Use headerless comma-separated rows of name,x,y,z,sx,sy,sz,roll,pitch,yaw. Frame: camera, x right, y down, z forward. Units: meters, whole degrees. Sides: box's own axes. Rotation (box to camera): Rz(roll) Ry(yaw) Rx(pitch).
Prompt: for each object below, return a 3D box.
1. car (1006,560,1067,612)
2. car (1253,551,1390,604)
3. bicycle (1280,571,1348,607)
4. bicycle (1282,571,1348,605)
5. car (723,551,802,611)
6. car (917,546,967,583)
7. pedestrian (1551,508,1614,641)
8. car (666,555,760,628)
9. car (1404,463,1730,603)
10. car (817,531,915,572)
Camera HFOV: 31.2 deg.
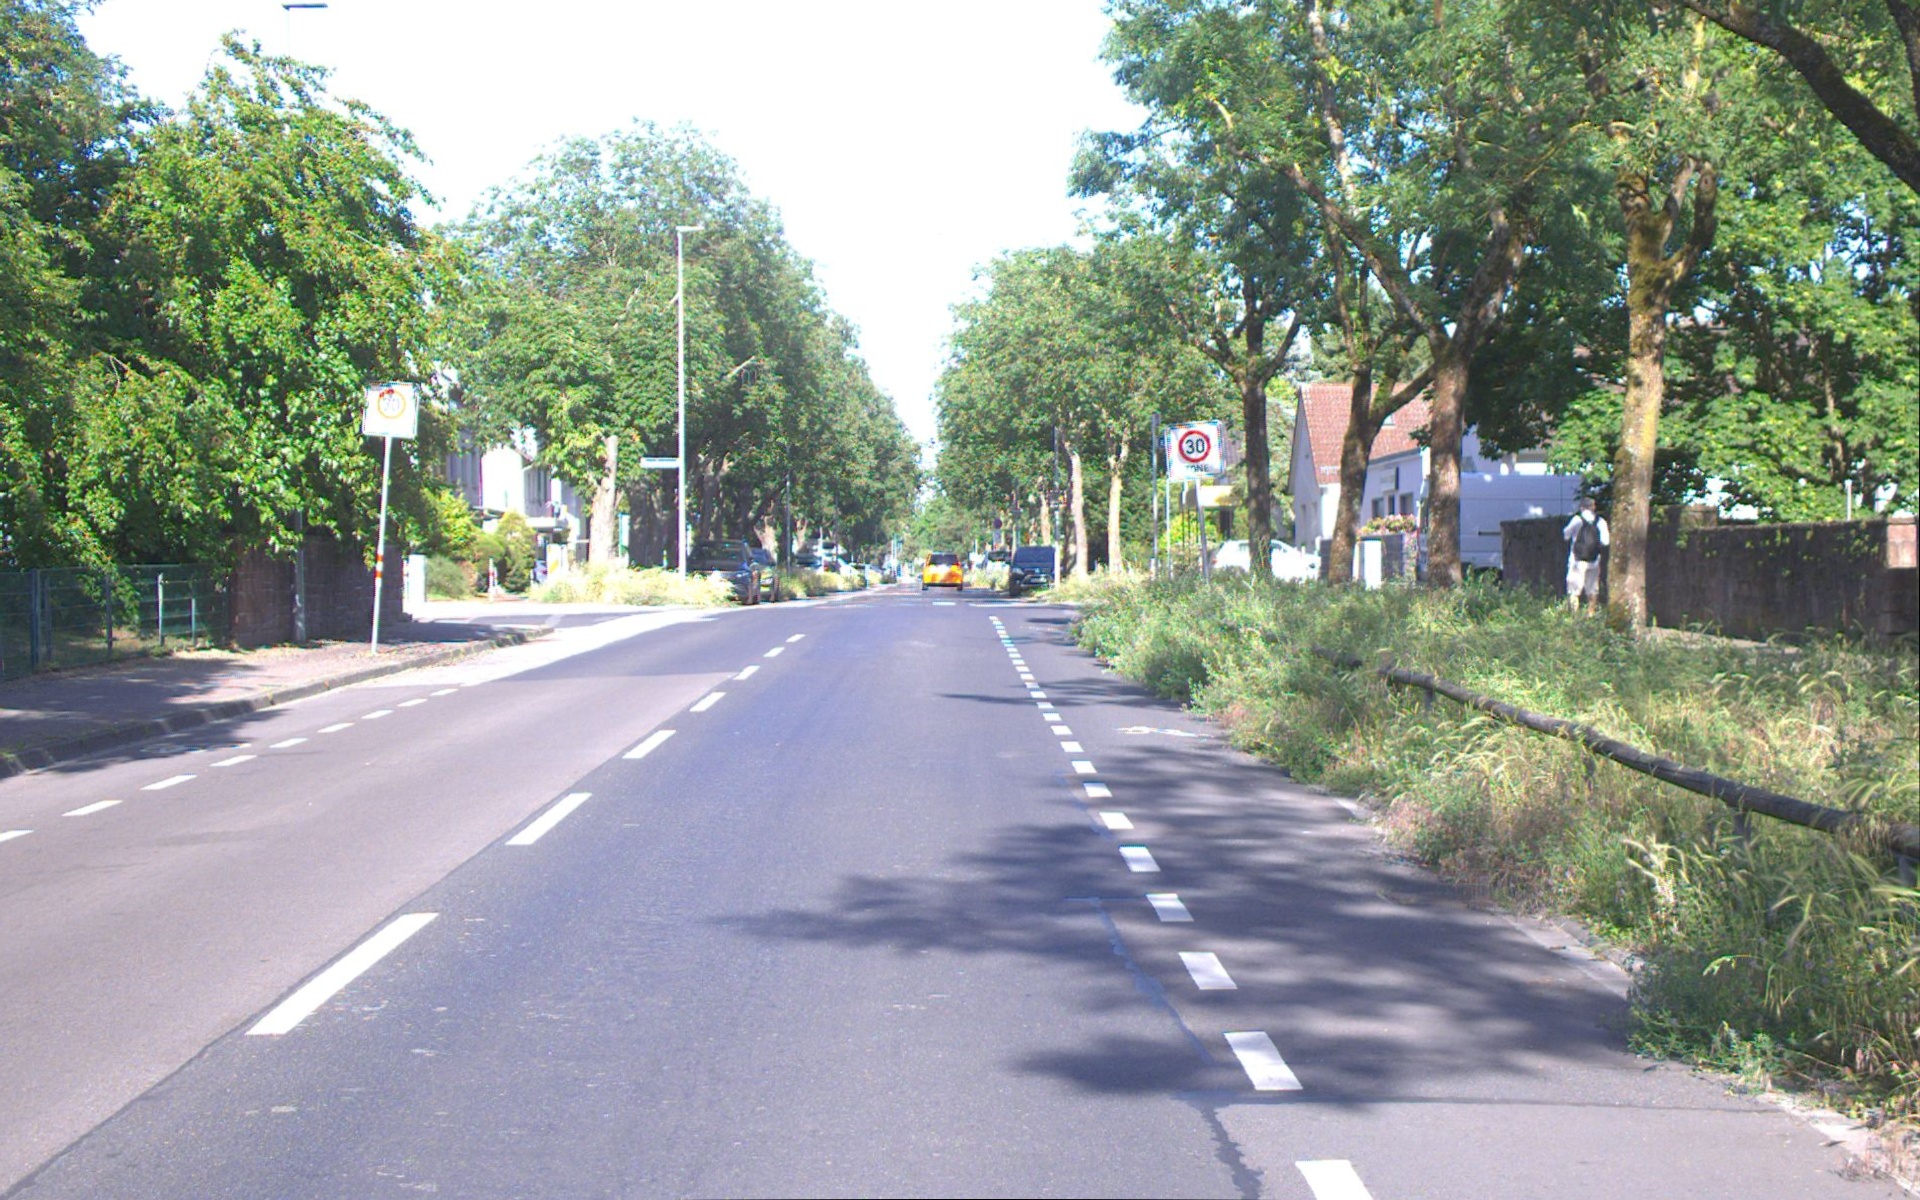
car,2.547,-0.457,115.271,1.853,1.620,4.469,-2,-1,0
car,11.243,-0.713,107.033,3.987,1.483,1.902,-2,2,-1
bicycle,10.684,-0.334,103.832,1.958,0.995,0.576,-2,1,-1
bicycle,10.811,-0.367,104.822,1.923,0.995,0.576,-2,1,-1
car,-5.694,-0.526,99.560,1.939,1.603,4.383,1,-1,1
car,-0.774,-1.475,144.557,1.888,1.474,3.888,2,0,-3
pedestrian,8.169,-0.342,45.124,0.637,1.700,0.612,-3,1,-1
car,-6.266,-0.190,87.773,1.953,1.721,4.874,1,-1,1
car,11.264,-1.242,64.052,5.594,2.530,2.266,0,1,-3
car,-5.398,-2.785,197.376,5.498,2.240,2.517,1,1,-2
